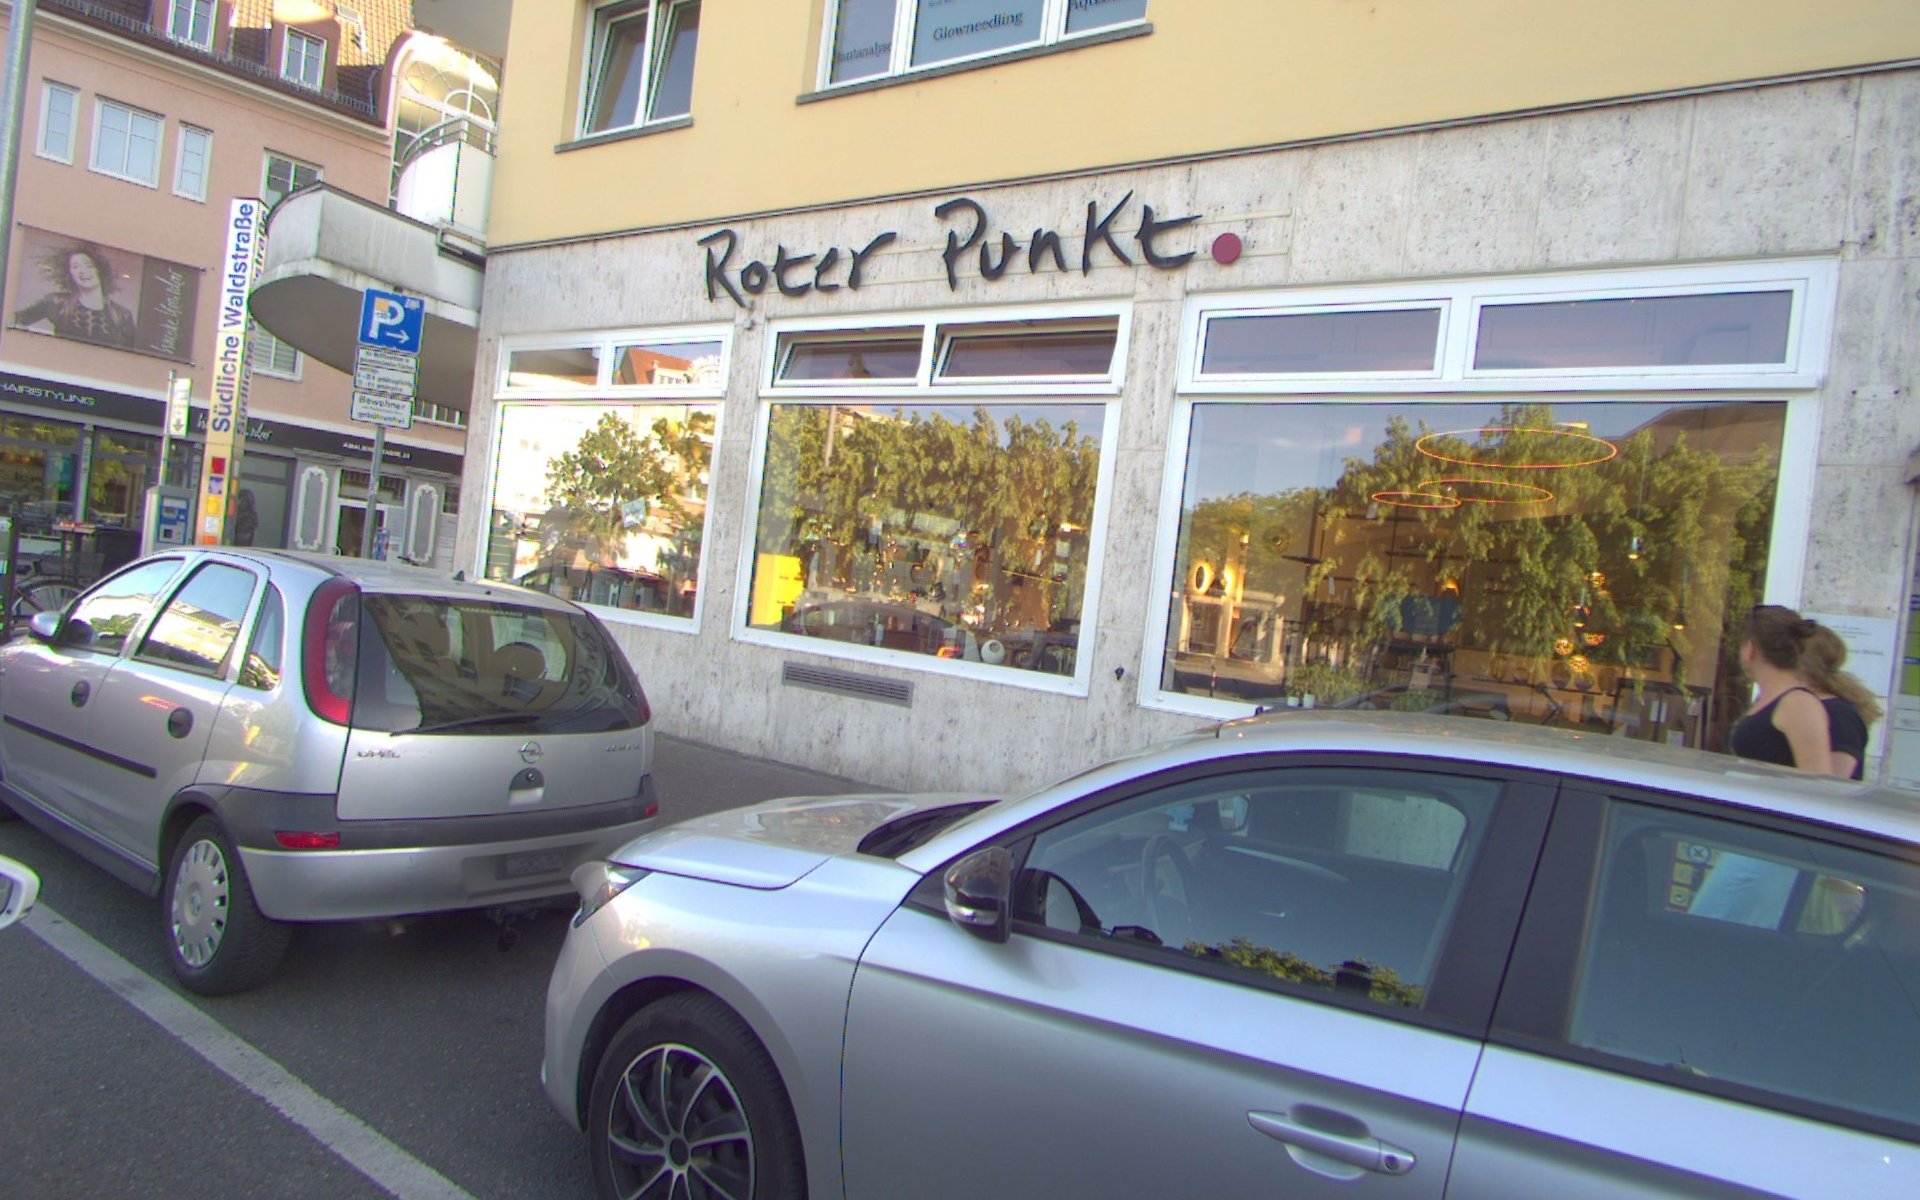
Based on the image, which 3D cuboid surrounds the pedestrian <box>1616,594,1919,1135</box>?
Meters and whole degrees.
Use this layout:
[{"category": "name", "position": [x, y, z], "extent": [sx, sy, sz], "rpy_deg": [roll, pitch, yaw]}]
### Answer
[{"category": "pedestrian", "position": [3.133, 0.921, 3.839], "extent": [0.557, 1.805, 0.743], "rpy_deg": [7, 0, 0]}]

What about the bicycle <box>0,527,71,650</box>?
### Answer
[{"category": "bicycle", "position": [-9.094, -0.146, 8.812], "extent": [0.408, 1.101, 1.872], "rpy_deg": [6, 1, 35]}]

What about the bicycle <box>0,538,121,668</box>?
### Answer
[{"category": "bicycle", "position": [-8.106, 0.003, 8.197], "extent": [0.348, 1.051, 1.871], "rpy_deg": [6, 1, 38]}]

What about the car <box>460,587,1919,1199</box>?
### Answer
[{"category": "car", "position": [0.757, 0.924, 2.275], "extent": [3.598, 1.444, 1.550], "rpy_deg": [6, -1, 30]}]

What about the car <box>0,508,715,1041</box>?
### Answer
[{"category": "car", "position": [-2.931, 0.469, 4.441], "extent": [3.420, 1.407, 1.548], "rpy_deg": [6, -1, 33]}]

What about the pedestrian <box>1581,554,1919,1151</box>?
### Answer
[{"category": "pedestrian", "position": [2.564, 0.749, 3.349], "extent": [0.636, 1.685, 0.658], "rpy_deg": [7, 0, 29]}]
